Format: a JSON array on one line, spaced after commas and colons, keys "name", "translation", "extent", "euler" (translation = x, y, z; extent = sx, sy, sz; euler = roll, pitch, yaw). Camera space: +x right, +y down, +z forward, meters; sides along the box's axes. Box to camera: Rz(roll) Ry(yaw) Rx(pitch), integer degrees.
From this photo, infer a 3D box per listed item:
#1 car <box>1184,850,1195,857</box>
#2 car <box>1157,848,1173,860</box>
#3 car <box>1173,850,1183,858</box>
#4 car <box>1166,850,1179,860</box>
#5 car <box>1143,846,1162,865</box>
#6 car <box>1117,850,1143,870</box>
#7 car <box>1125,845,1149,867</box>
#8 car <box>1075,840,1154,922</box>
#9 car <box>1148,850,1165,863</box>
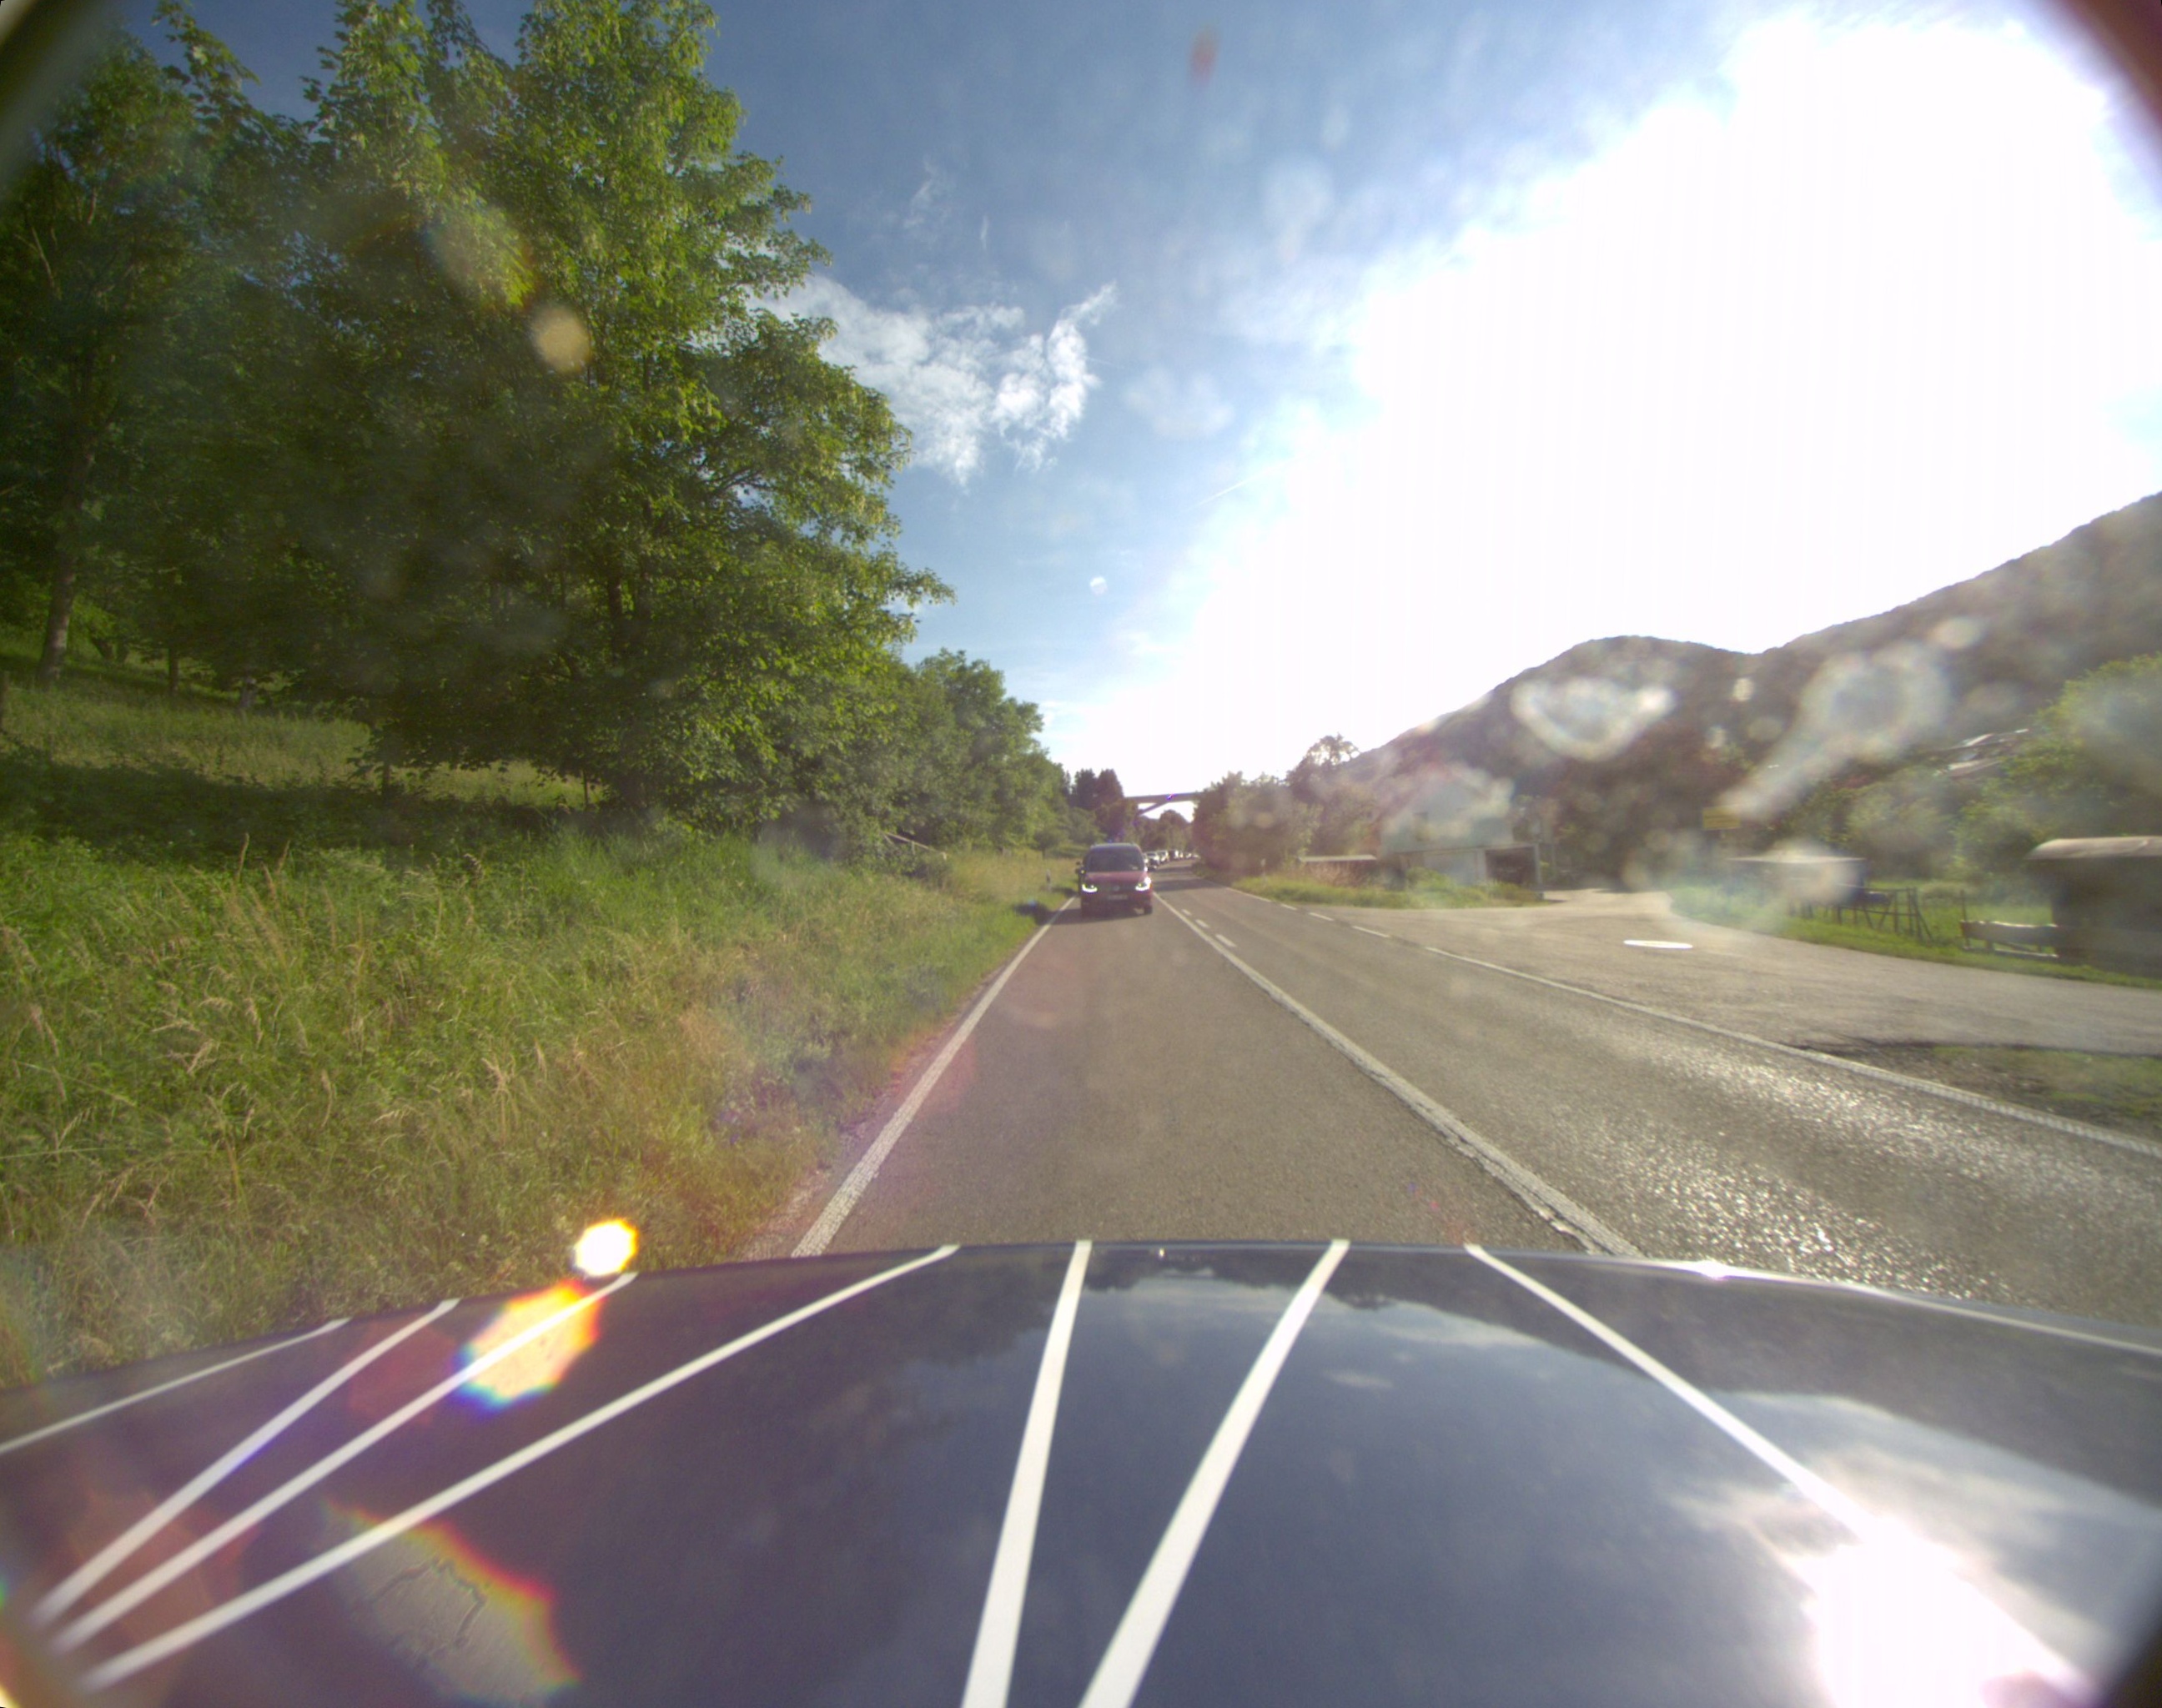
[{"name": "car", "translation": [24.038, -0.160, 168.314], "extent": [1.840, 1.543, 4.182], "euler": [-1, 0, 14]}, {"name": "car", "translation": [11.746, -0.077, 106.059], "extent": [1.817, 1.608, 4.003], "euler": [-1, 0, 11]}, {"name": "car", "translation": [19.240, 0.052, 150.475], "extent": [1.840, 1.543, 4.181], "euler": [-1, 0, 10]}, {"name": "car", "translation": [14.511, 0.167, 120.048], "extent": [1.817, 1.608, 4.003], "euler": [-1, 0, 10]}, {"name": "car", "translation": [7.972, 0.154, 84.282], "extent": [1.913, 2.002, 4.002], "euler": [-1, 0, 8]}, {"name": "car", "translation": [4.035, 0.457, 61.841], "extent": [1.841, 1.543, 4.179], "euler": [-1, 1, 7]}, {"name": "car", "translation": [5.352, 0.209, 72.333], "extent": [1.913, 2.002, 4.002], "euler": [-1, 0, 9]}, {"name": "car", "translation": [0.899, 0.626, 19.764], "extent": [1.772, 1.855, 3.876], "euler": [-2, 0, 3]}, {"name": "car", "translation": [9.462, 0.339, 95.121], "extent": [1.840, 1.543, 4.180], "euler": [-1, 0, 8]}]
